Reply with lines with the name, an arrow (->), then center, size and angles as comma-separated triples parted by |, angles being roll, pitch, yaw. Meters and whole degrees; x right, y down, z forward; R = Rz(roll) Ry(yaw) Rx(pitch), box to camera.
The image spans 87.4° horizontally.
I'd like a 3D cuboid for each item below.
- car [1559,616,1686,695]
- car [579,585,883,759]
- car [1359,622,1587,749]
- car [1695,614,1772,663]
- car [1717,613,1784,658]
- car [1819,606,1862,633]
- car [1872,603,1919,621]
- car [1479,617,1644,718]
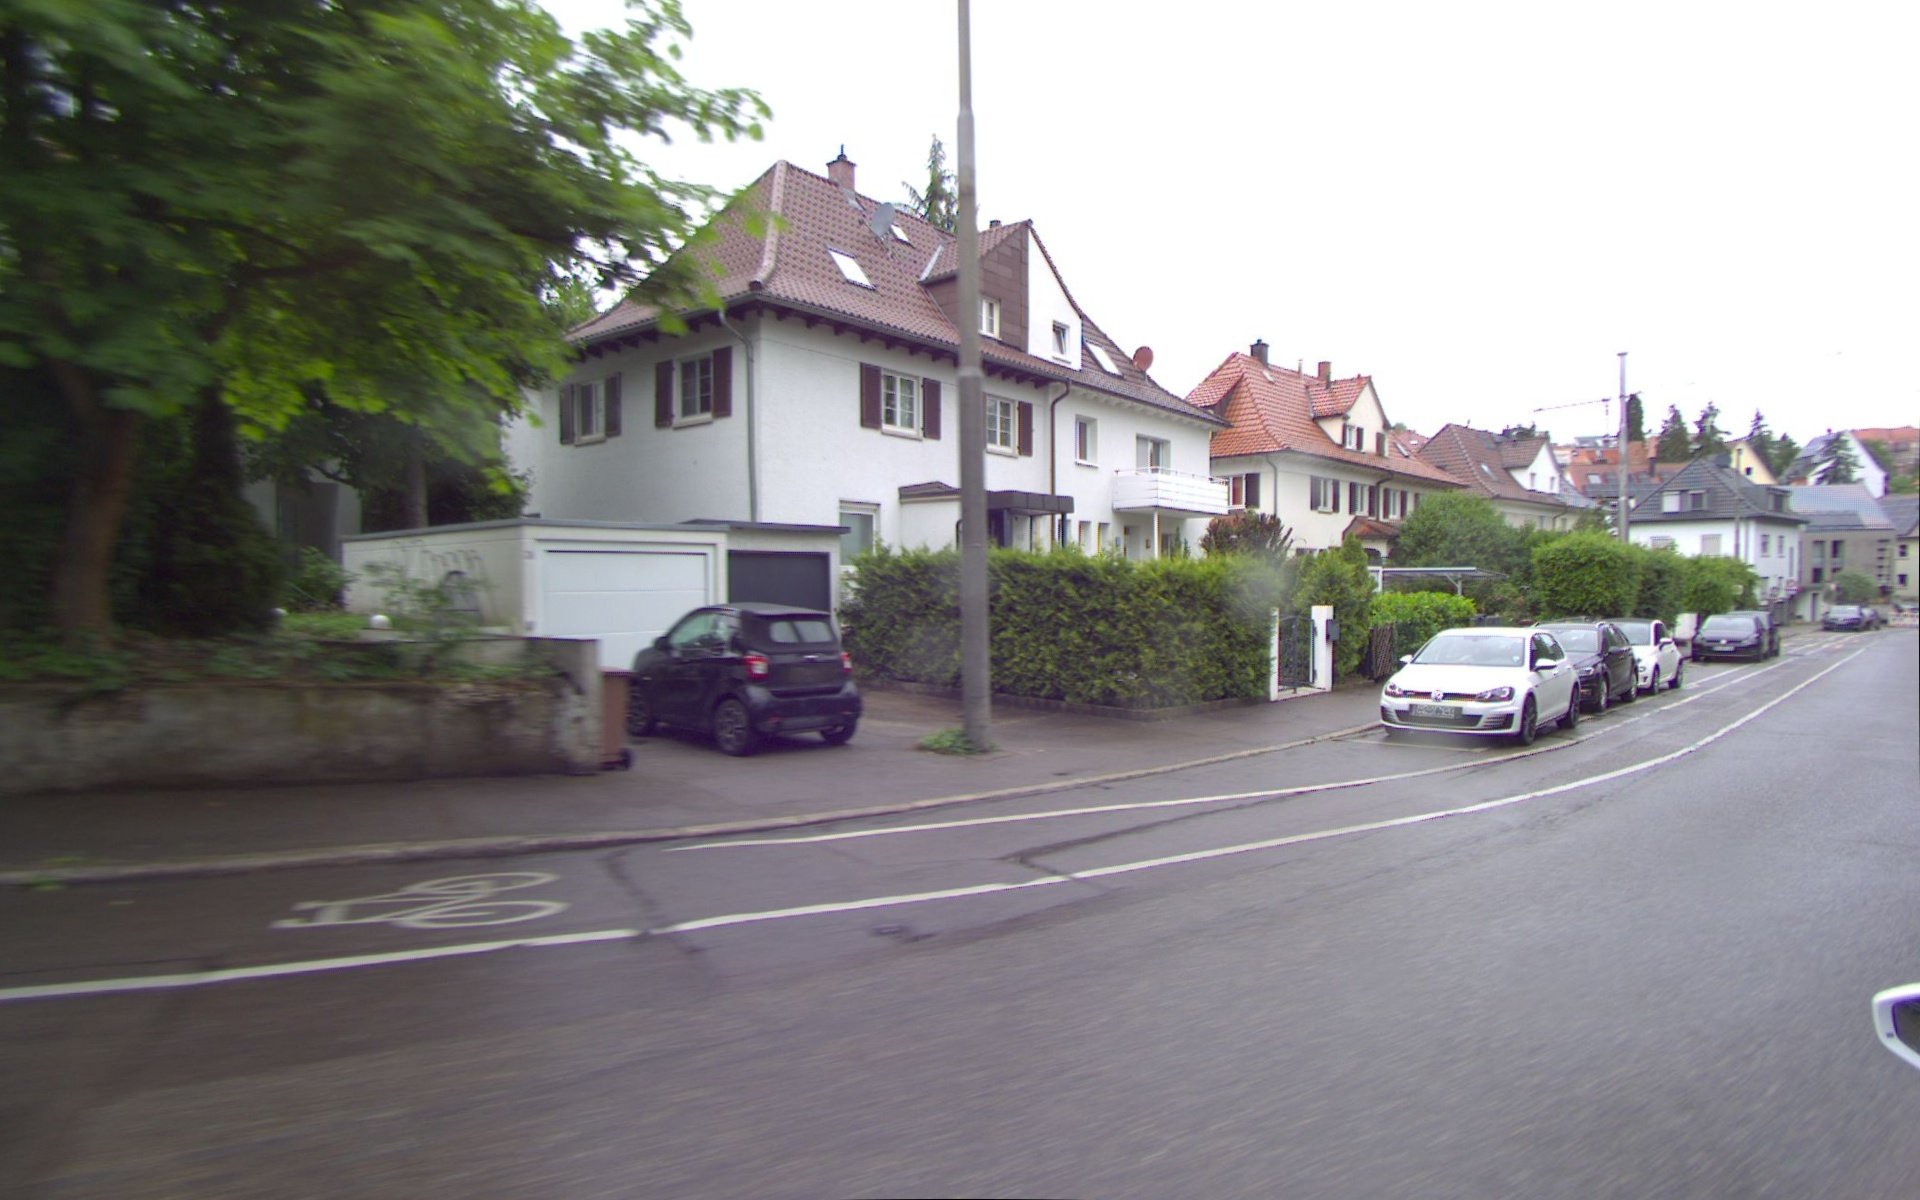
car -> 14.346, 1.121, 21.689 | 1.680, 1.487, 3.690 | 2, 1, 43
car -> -2.748, 0.725, 11.798 | 3.297, 1.540, 1.814 | 5, 2, 40
car -> 7.259, 1.068, 13.991 | 1.714, 1.441, 4.259 | 2, 0, 43
car -> 24.875, 1.183, 32.264 | 1.669, 1.437, 4.192 | 0, 0, 42
car -> 27.760, 1.207, 35.258 | 1.504, 1.473, 3.010 | 0, 0, 45
car -> 57.065, 1.231, 65.067 | 4.374, 1.681, 1.737 | 0, 0, -44
car -> 86.960, 1.097, 92.972 | 1.802, 1.463, 4.001 | 1, 2, 7
car -> 11.032, 1.111, 18.290 | 1.680, 1.545, 4.397 | 2, 1, 43
